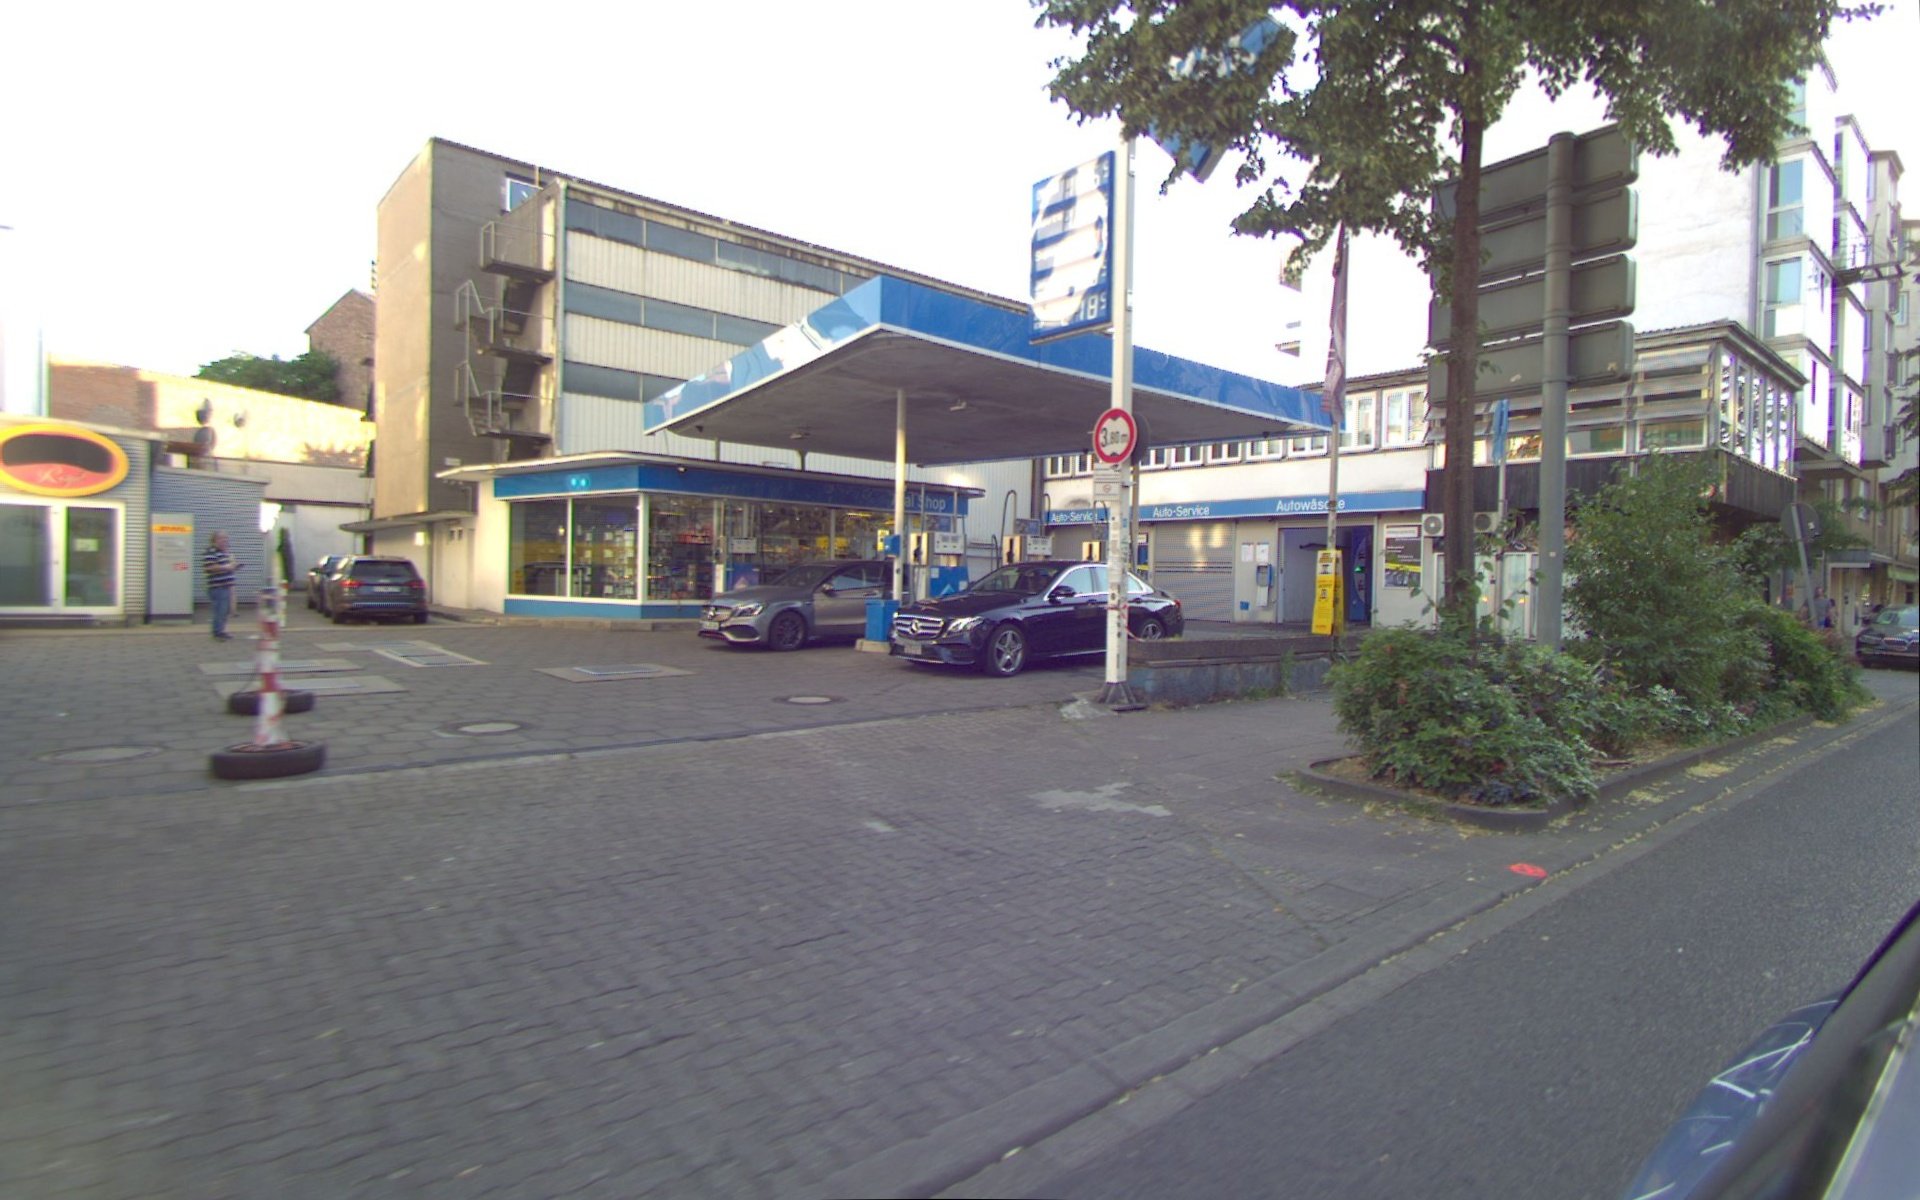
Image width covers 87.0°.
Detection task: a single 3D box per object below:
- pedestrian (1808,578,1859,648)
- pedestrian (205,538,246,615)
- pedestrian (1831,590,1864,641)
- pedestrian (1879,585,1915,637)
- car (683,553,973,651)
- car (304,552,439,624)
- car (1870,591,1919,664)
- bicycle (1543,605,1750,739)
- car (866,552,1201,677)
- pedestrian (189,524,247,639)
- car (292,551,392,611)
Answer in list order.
[{"bbox_3d":[23.422,0.336,27.138,0.979,1.816,0.857,1,2,-41],"label":"pedestrian"},{"bbox_3d":[-16.269,-0.516,22.413,0.637,1.674,0.692,2,1,-41],"label":"pedestrian"},{"bbox_3d":[27.672,0.487,31.557,0.759,1.544,0.612,1,1,-40],"label":"pedestrian"},{"bbox_3d":[32.316,0.379,34.907,0.688,1.725,0.789,1,2,-40],"label":"pedestrian"},{"bbox_3d":[-2.091,-0.041,16.996,4.676,1.419,1.714,-1,3,-41],"label":"car"},{"bbox_3d":[-13.039,-0.311,22.305,1.869,1.419,4.230,0,2,-40],"label":"car"},{"bbox_3d":[22.186,0.611,22.932,4.767,1.506,1.832,0,3,-43],"label":"car"},{"bbox_3d":[6.376,0.665,9.419,1.646,1.157,0.485,2,2,-10],"label":"bicycle"},{"bbox_3d":[1.169,0.096,14.061,4.823,1.448,1.738,-1,3,-41],"label":"car"},{"bbox_3d":[-11.507,-0.284,15.689,0.644,1.737,0.547,2,1,-41],"label":"pedestrian"},{"bbox_3d":[-16.400,-0.538,26.769,1.701,1.461,3.899,0,2,-40],"label":"car"}]
